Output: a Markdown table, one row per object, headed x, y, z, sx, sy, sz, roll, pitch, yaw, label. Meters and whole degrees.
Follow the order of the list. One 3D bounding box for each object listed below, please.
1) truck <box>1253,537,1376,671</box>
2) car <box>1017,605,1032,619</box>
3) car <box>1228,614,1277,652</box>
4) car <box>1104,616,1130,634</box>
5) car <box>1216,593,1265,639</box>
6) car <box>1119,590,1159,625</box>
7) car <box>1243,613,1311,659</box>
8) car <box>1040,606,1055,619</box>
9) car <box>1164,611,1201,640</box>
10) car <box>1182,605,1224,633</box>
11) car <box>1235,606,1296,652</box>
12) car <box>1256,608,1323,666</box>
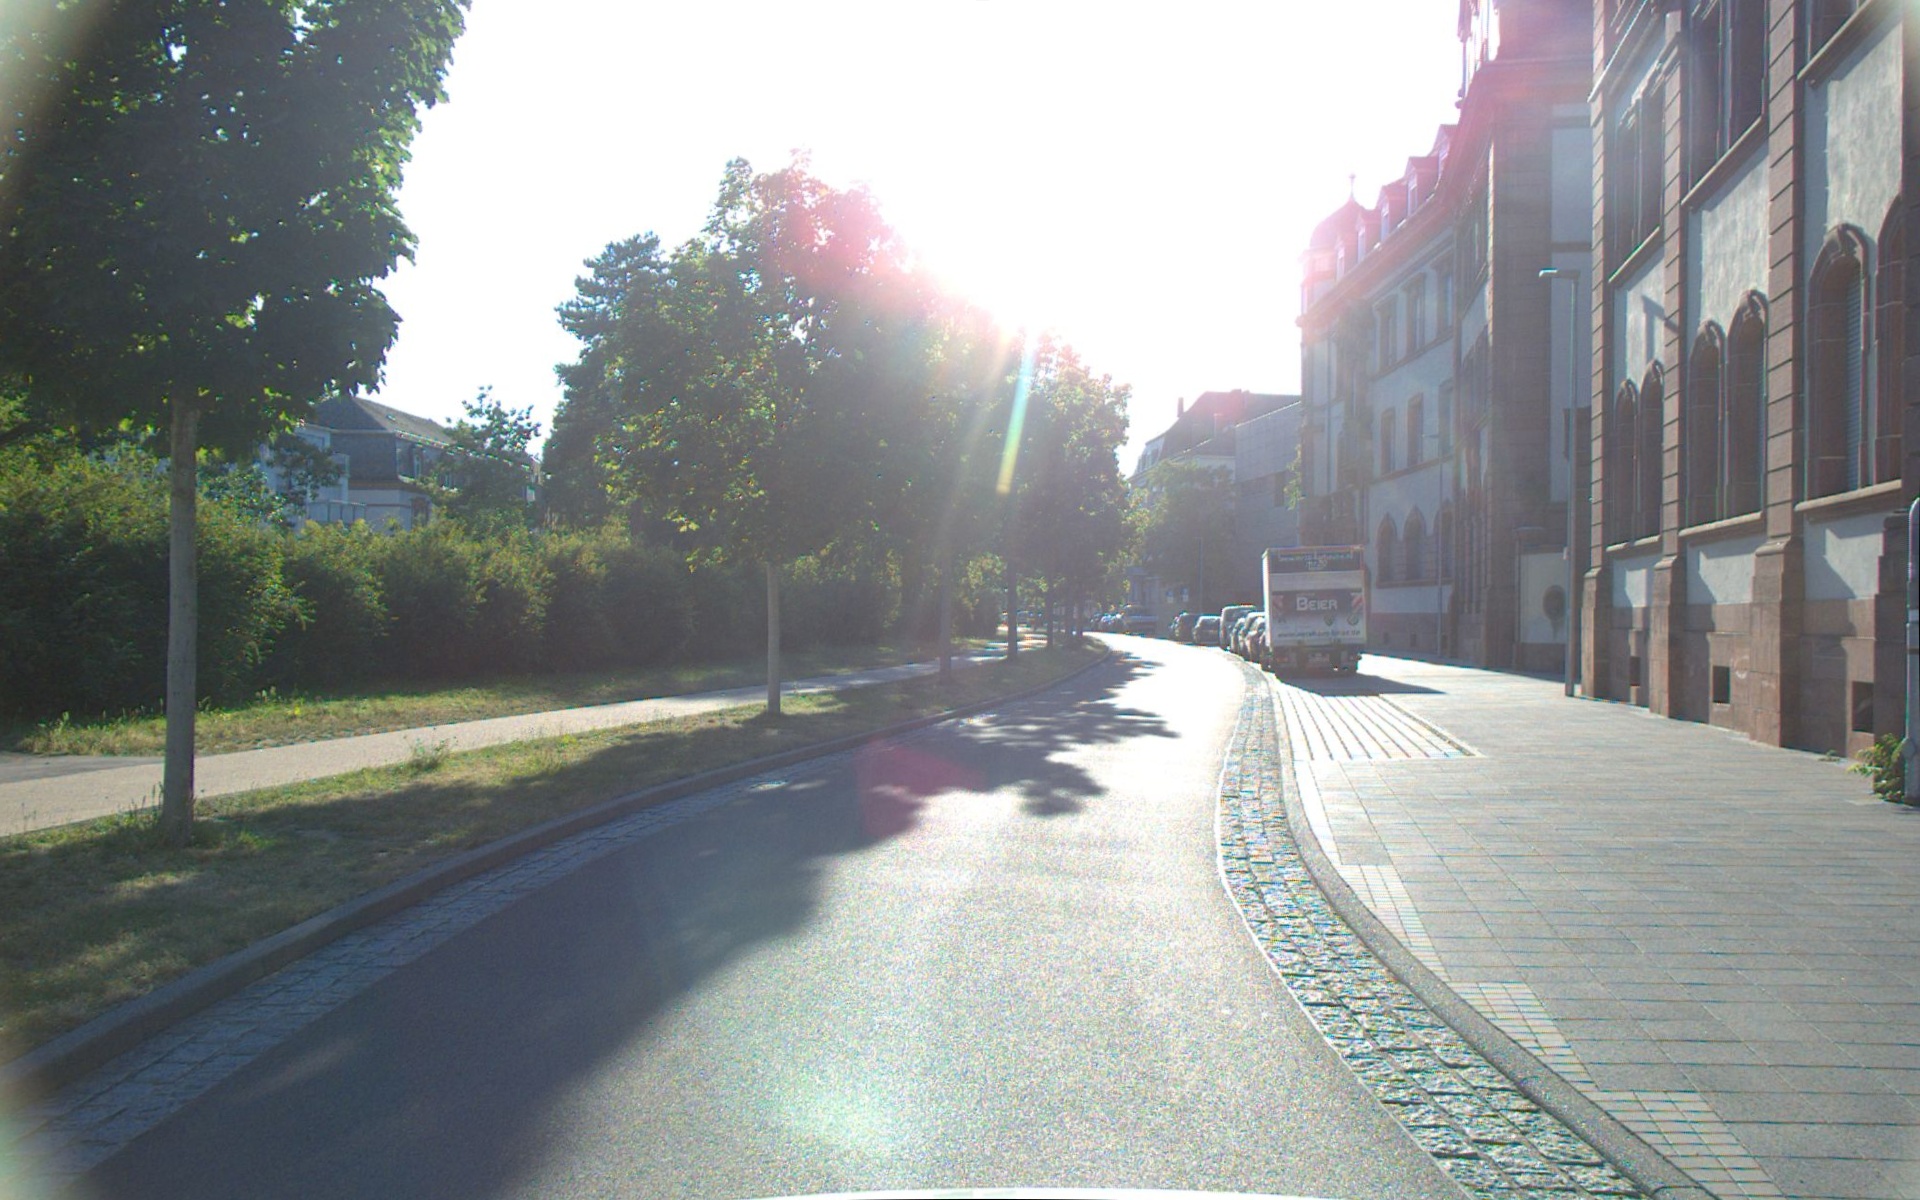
| x | y | z | sx | sy | sz | roll | pitch | yaw | label |
| --- | --- | --- | --- | --- | --- | --- | --- | --- | --- |
| 8.922 | 0.118 | 42.209 | 2.567 | 3.175 | 6.092 | 0 | 0 | 7 | truck |
| 8.524 | 1.583 | 218.934 | 1.757 | 1.755 | 3.999 | 1 | 0 | -2 | car |
| 11.956 | 1.331 | 67.697 | 1.643 | 1.427 | 4.202 | -2 | 0 | 6 | car |
| 13.342 | 2.149 | 140.743 | 1.657 | 1.466 | 3.548 | -1 | 0 | -3 | car |
| 13.201 | 0.746 | 78.079 | 1.951 | 2.000 | 4.852 | -3 | -1 | 7 | car |
| 13.965 | 0.577 | 129.295 | 2.167 | 2.574 | 6.145 | -2 | 0 | -2 | car |
| 10.818 | 1.214 | 56.672 | 1.832 | 1.461 | 4.525 | -1 | -1 | 5 | car |
| 10.785 | 1.518 | 204.642 | 1.757 | 1.536 | 4.000 | 1 | 0 | 1 | car |
| 13.498 | 1.545 | 100.534 | 1.689 | 1.698 | 4.114 | -1 | 0 | 0 | car |
| 13.206 | 1.006 | 90.119 | 1.711 | 1.492 | 4.478 | 1 | 0 | 1 | car |
| 11.448 | 1.075 | 62.261 | 1.777 | 1.630 | 4.194 | -1 | 0 | 4 | car |
| 9.482 | 1.046 | 47.859 | 1.730 | 1.557 | 4.576 | -2 | -1 | 10 | car |
